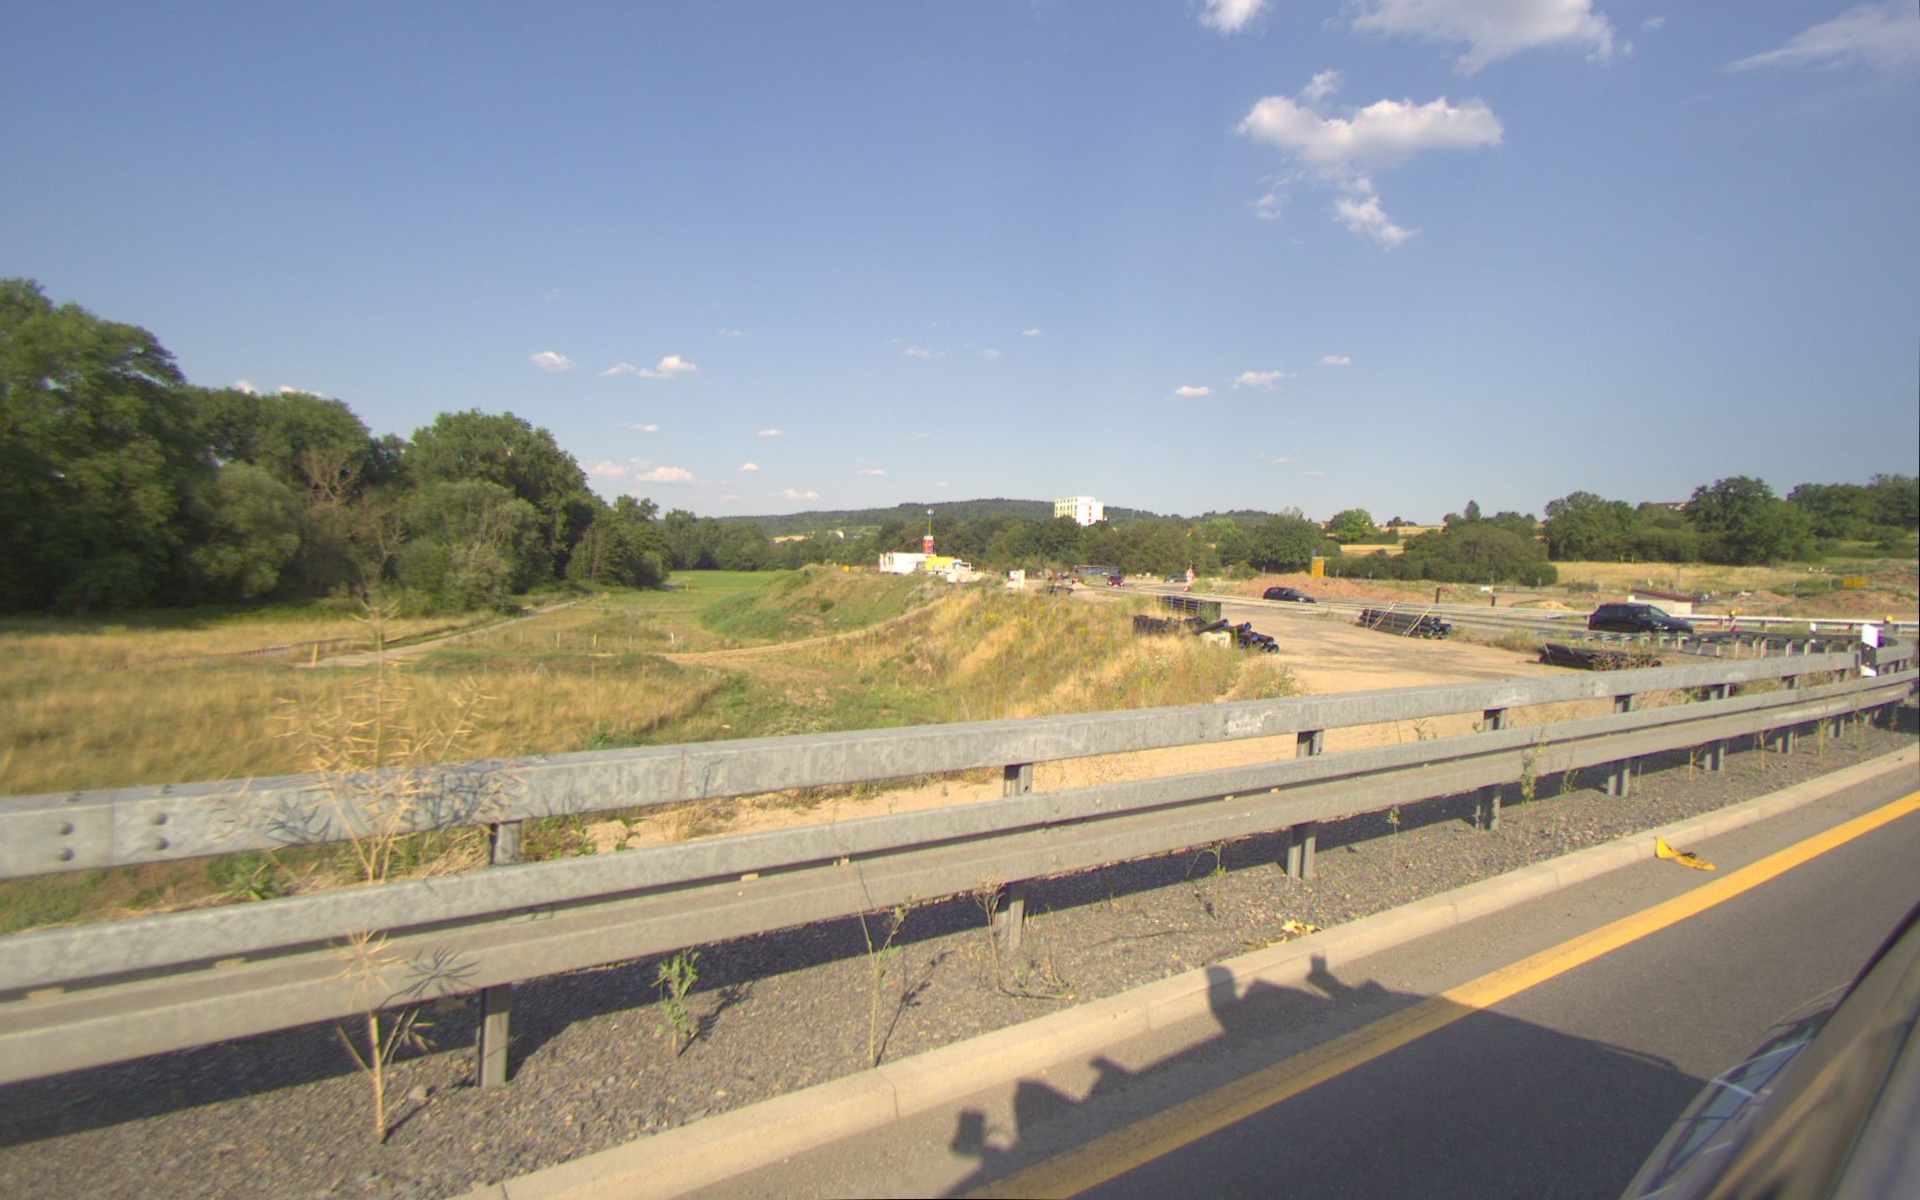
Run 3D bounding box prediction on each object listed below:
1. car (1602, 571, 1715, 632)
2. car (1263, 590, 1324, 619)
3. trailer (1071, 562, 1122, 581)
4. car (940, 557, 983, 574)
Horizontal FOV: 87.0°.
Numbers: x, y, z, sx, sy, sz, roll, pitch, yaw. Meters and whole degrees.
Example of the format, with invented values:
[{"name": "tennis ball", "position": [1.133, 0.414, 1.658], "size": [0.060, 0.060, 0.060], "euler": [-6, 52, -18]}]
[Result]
[{"name": "car", "position": [31.260, 0.016, 45.433], "size": [1.839, 2.432, 4.008], "euler": [2, 3, -7]}, {"name": "car", "position": [23.967, 0.317, 72.902], "size": [1.604, 1.808, 4.136], "euler": [1, 3, -27]}, {"name": "trailer", "position": [18.299, -3.764, 135.460], "size": [7.110, 2.443, 3.007], "euler": [-1, 3, -44]}, {"name": "car", "position": [0.194, -4.684, 138.573], "size": [5.209, 2.104, 2.493], "euler": [1, 3, -23]}]
